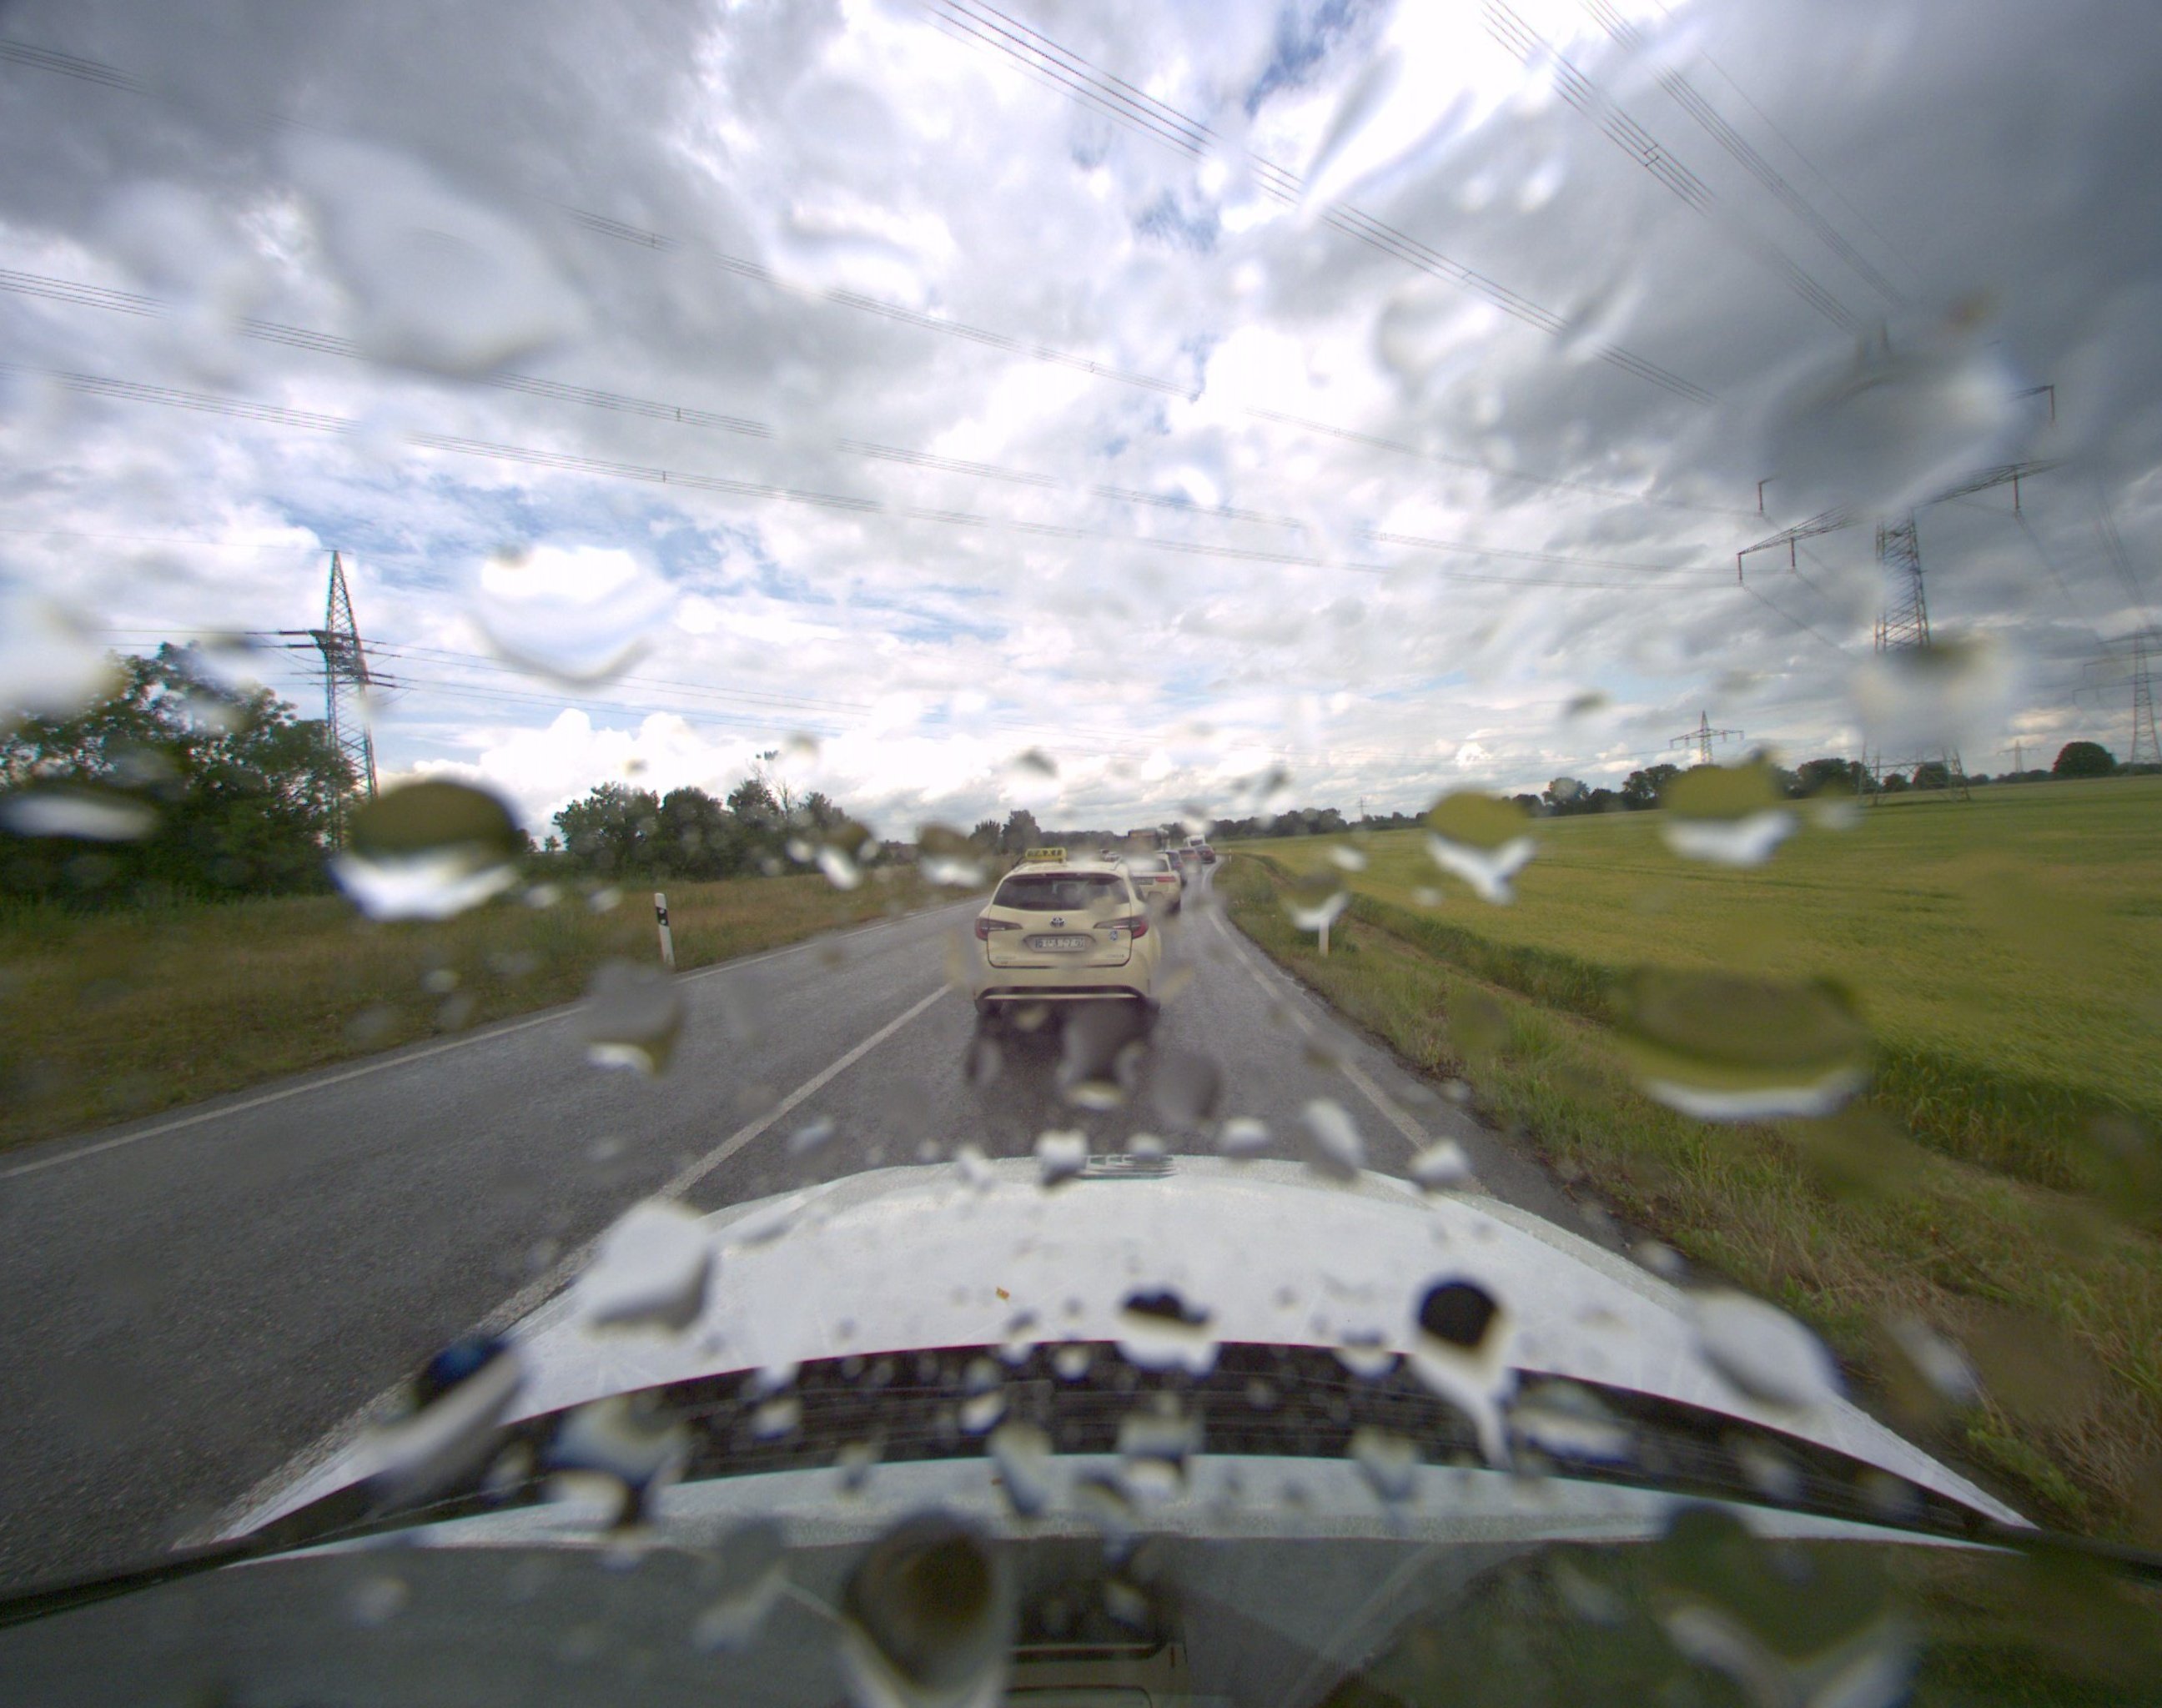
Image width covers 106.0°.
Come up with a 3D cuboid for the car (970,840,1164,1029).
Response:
[{"bbox_3d":[0.031,0.705,8.664,1.605,1.562,3.743,-1,-1,5],"label":"car"}]

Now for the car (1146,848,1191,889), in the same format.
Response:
[{"bbox_3d":[3.785,0.620,34.749,1.603,1.659,3.749,-1,-1,10],"label":"car"}]

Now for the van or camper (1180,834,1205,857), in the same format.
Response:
[{"bbox_3d":[14.496,-1.083,105.982,2.526,2.896,6.747,-1,0,2],"label":"van or camper"}]

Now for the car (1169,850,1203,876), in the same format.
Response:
[{"bbox_3d":[6.020,0.505,46.330,1.602,1.413,3.750,-1,-1,12],"label":"car"}]

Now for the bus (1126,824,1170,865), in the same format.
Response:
[{"bbox_3d":[6.102,-0.806,72.200,2.741,3.297,12.537,-1,0,10],"label":"bus"}]

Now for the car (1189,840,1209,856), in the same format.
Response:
[{"bbox_3d":[13.184,-0.654,91.044,1.951,1.729,3.742,-1,-1,4],"label":"car"}]

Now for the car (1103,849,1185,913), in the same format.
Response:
[{"bbox_3d":[1.786,0.631,21.564,1.831,1.492,4.619,-1,0,8],"label":"car"}]

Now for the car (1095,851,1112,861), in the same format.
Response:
[{"bbox_3d":[4.300,0.389,157.295,1.888,1.773,4.134,0,-1,-18],"label":"car"}]

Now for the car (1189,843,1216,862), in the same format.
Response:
[{"bbox_3d":[10.005,-0.090,66.900,1.947,1.413,4.405,-1,-1,11],"label":"car"}]

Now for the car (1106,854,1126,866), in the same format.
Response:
[{"bbox_3d":[6.073,1.138,141.319,1.999,2.014,4.352,0,-1,-18],"label":"car"}]
